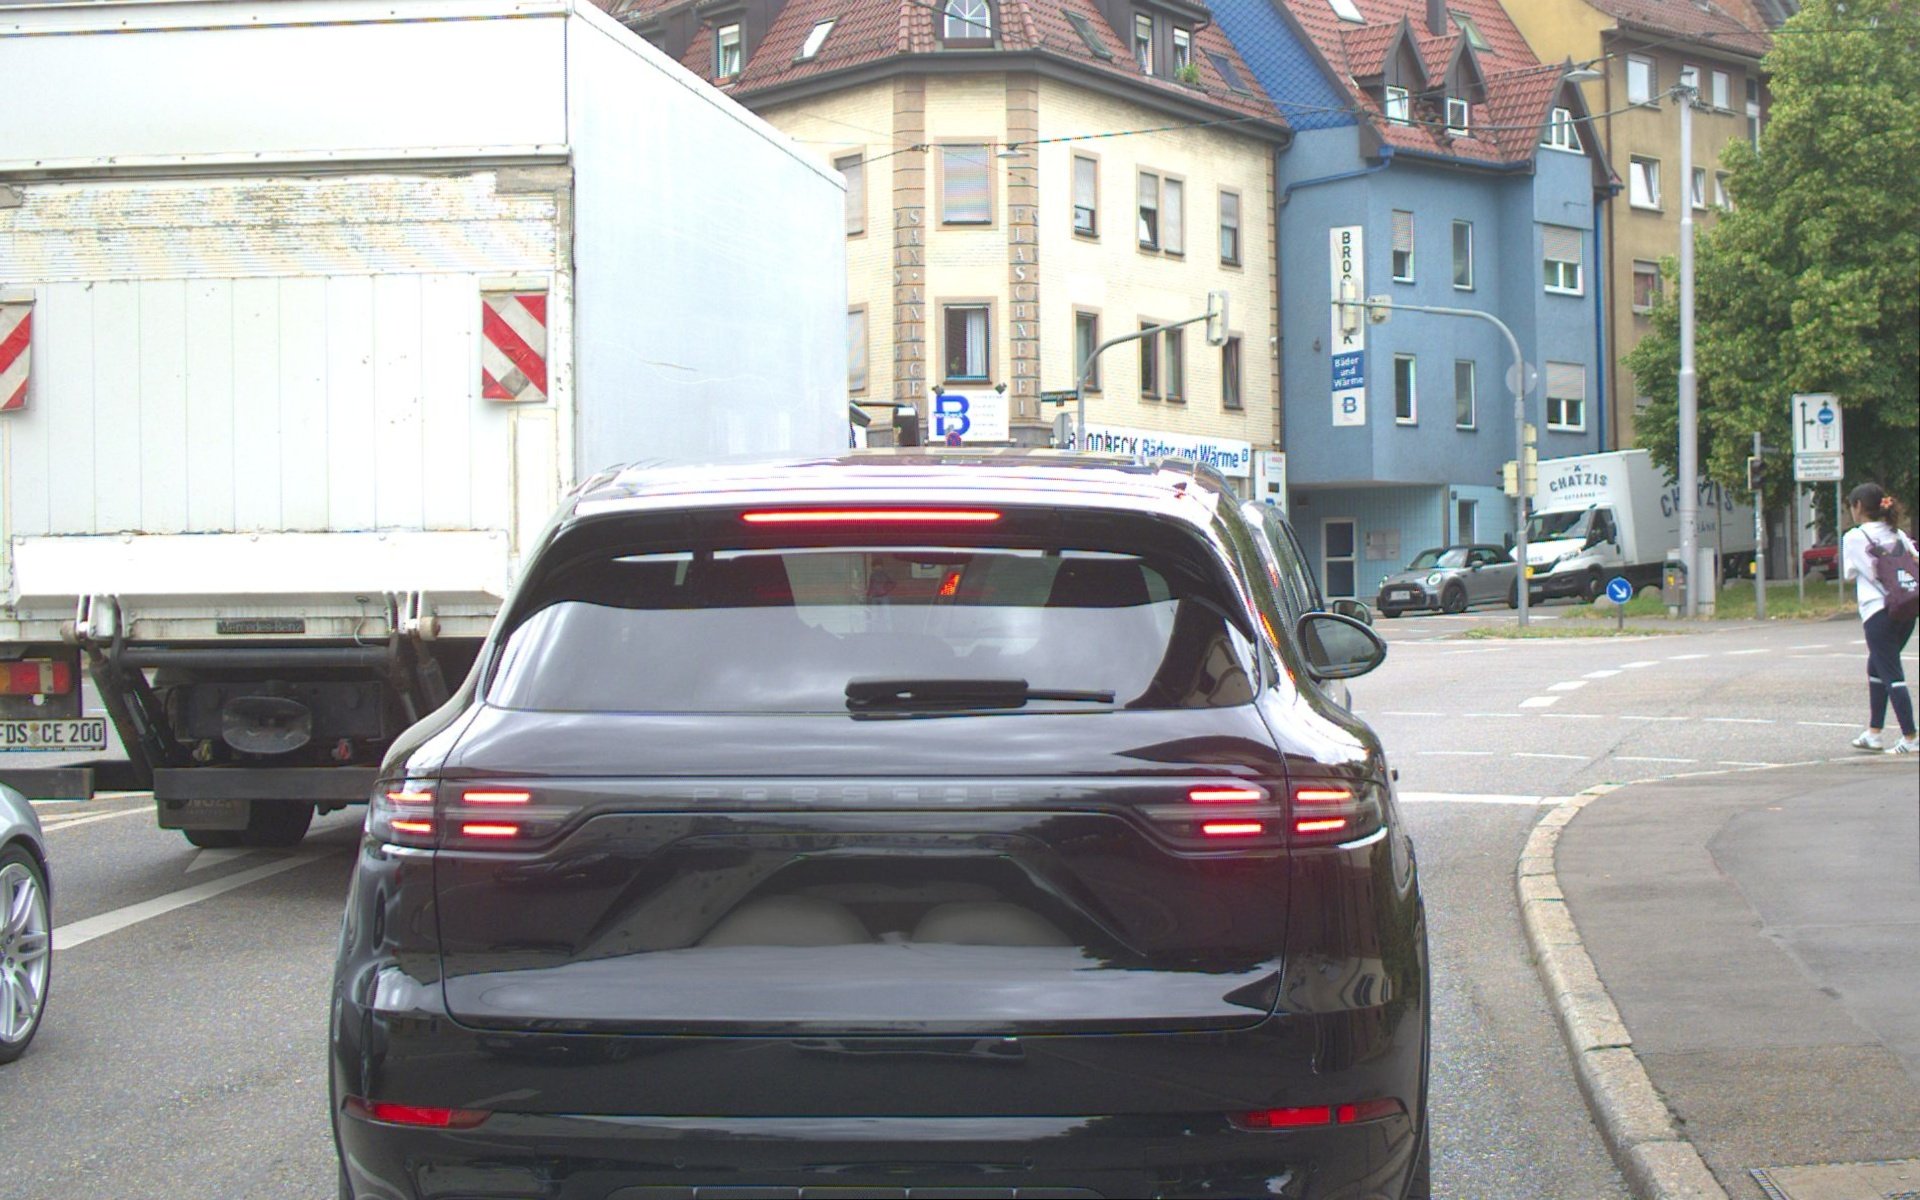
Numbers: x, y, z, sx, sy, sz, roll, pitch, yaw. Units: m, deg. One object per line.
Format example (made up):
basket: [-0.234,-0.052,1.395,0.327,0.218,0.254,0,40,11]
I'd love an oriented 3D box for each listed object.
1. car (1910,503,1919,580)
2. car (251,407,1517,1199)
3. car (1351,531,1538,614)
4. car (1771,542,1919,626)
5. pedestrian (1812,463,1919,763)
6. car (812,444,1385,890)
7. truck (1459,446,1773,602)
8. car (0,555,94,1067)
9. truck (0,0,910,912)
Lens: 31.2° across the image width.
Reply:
car: [27.114,-1.477,91.190,1.999,2.007,3.990,2,1,43]
car: [-0.226,0.483,7.382,1.978,1.678,4.001,0,2,-3]
car: [10.153,-0.580,71.879,1.998,1.678,3.990,1,1,41]
car: [22.295,-0.391,86.339,1.999,2.007,3.990,2,1,43]
pedestrian: [5.669,0.077,21.228,0.589,1.813,0.529,2,0,-5]
car: [0.759,0.227,15.073,1.994,1.678,3.998,0,1,10]
truck: [15.070,-1.680,78.445,2.880,3.328,8.772,2,1,41]
car: [-3.517,0.613,8.050,1.696,1.368,4.177,0,2,4]
truck: [-2.242,-0.709,17.176,2.770,3.562,8.062,0,1,8]
